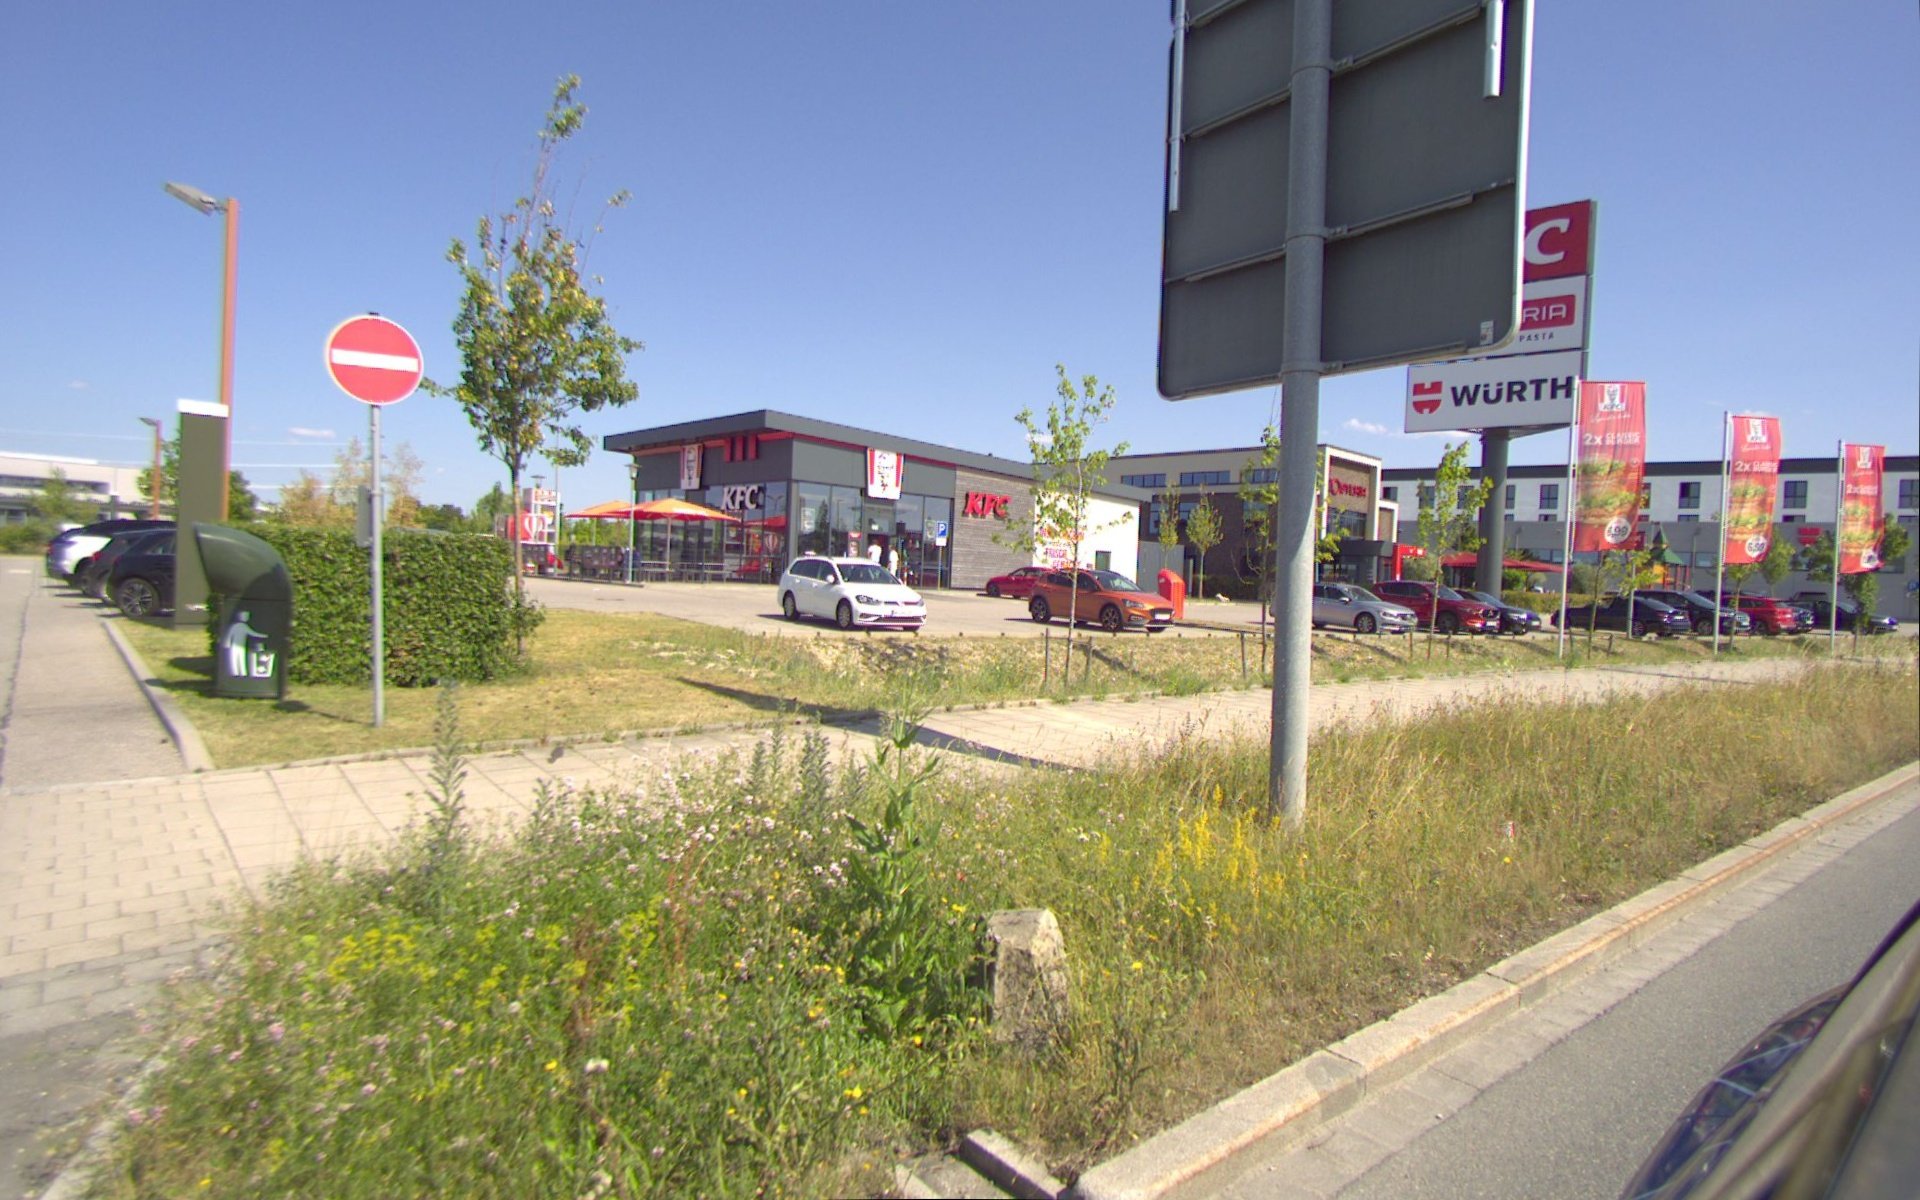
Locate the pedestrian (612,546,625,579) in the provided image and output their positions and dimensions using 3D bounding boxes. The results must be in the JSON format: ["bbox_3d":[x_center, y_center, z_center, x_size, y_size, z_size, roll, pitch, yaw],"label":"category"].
[{"bbox_3d":[-12.937,-1.413,38.342,0.288,1.255,0.380,0,2,-44],"label":"pedestrian"}]

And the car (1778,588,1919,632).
[{"bbox_3d":[38.379,0.389,43.567,1.954,1.585,4.429,2,2,-27],"label":"car"}]

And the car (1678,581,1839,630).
[{"bbox_3d":[34.132,0.205,43.433,1.899,1.756,5.008,2,2,-27],"label":"car"}]

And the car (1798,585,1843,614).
[{"bbox_3d":[58.440,-0.021,68.765,2.039,1.838,4.856,3,2,38],"label":"car"}]

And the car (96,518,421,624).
[{"bbox_3d":[-11.233,-0.471,16.392,4.090,1.480,1.703,2,2,0],"label":"car"}]

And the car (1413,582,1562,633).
[{"bbox_3d":[18.054,0.219,34.831,1.757,1.467,4.170,1,2,-34],"label":"car"}]

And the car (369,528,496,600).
[{"bbox_3d":[-13.367,-0.931,25.544,1.761,1.655,4.161,0,2,-43],"label":"car"}]

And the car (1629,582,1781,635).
[{"bbox_3d":[29.078,0.281,39.658,1.754,1.756,4.430,2,2,-25],"label":"car"}]

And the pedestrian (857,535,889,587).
[{"bbox_3d":[-3.480,-1.541,40.438,0.875,2.038,0.915,1,2,-39],"label":"pedestrian"}]

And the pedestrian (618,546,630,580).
[{"bbox_3d":[-12.499,-1.385,37.653,0.288,1.255,0.380,0,2,-44],"label":"pedestrian"}]

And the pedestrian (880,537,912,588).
[{"bbox_3d":[-2.618,-1.536,41.339,0.875,2.038,0.915,1,2,-39],"label":"pedestrian"}]

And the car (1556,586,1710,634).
[{"bbox_3d":[24.900,0.347,37.626,1.754,1.467,4.430,2,2,-26],"label":"car"}]

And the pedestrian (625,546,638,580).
[{"bbox_3d":[-12.295,-1.385,37.876,0.288,1.255,0.380,0,2,-44],"label":"pedestrian"}]

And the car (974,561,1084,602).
[{"bbox_3d":[2.844,-0.807,42.689,1.837,1.449,4.562,1,3,-43],"label":"car"}]

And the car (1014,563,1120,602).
[{"bbox_3d":[4.672,-0.800,44.743,1.837,1.449,4.562,1,3,-43],"label":"car"}]

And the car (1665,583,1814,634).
[{"bbox_3d":[31.609,0.309,41.209,1.754,1.756,4.430,2,2,-25],"label":"car"}]

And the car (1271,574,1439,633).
[{"bbox_3d":[12.024,0.057,31.119,1.832,1.508,4.575,2,2,-32],"label":"car"}]

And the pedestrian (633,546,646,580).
[{"bbox_3d":[-12.076,-1.384,38.101,0.288,1.255,0.380,0,2,-44],"label":"pedestrian"}]

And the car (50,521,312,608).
[{"bbox_3d":[-16.162,-0.745,21.144,4.090,1.599,1.792,2,2,0],"label":"car"}]

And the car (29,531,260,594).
[{"bbox_3d":[-19.311,-0.895,24.090,4.090,1.313,1.792,2,2,0],"label":"car"}]

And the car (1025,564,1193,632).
[{"bbox_3d":[3.732,-0.092,26.036,1.833,1.508,4.219,1,2,-36],"label":"car"}]

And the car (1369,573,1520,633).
[{"bbox_3d":[15.948,0.060,33.538,1.831,1.685,4.175,2,2,-28],"label":"car"}]

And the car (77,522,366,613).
[{"bbox_3d":[-13.651,-0.611,18.881,4.090,1.480,1.792,2,2,0],"label":"car"}]

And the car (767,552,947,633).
[{"bbox_3d":[-2.349,-0.219,21.893,1.833,1.508,4.542,1,2,-36],"label":"car"}]

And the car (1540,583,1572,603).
[{"bbox_3d":[46.741,-0.529,79.319,1.692,1.480,4.055,3,2,37],"label":"car"}]
